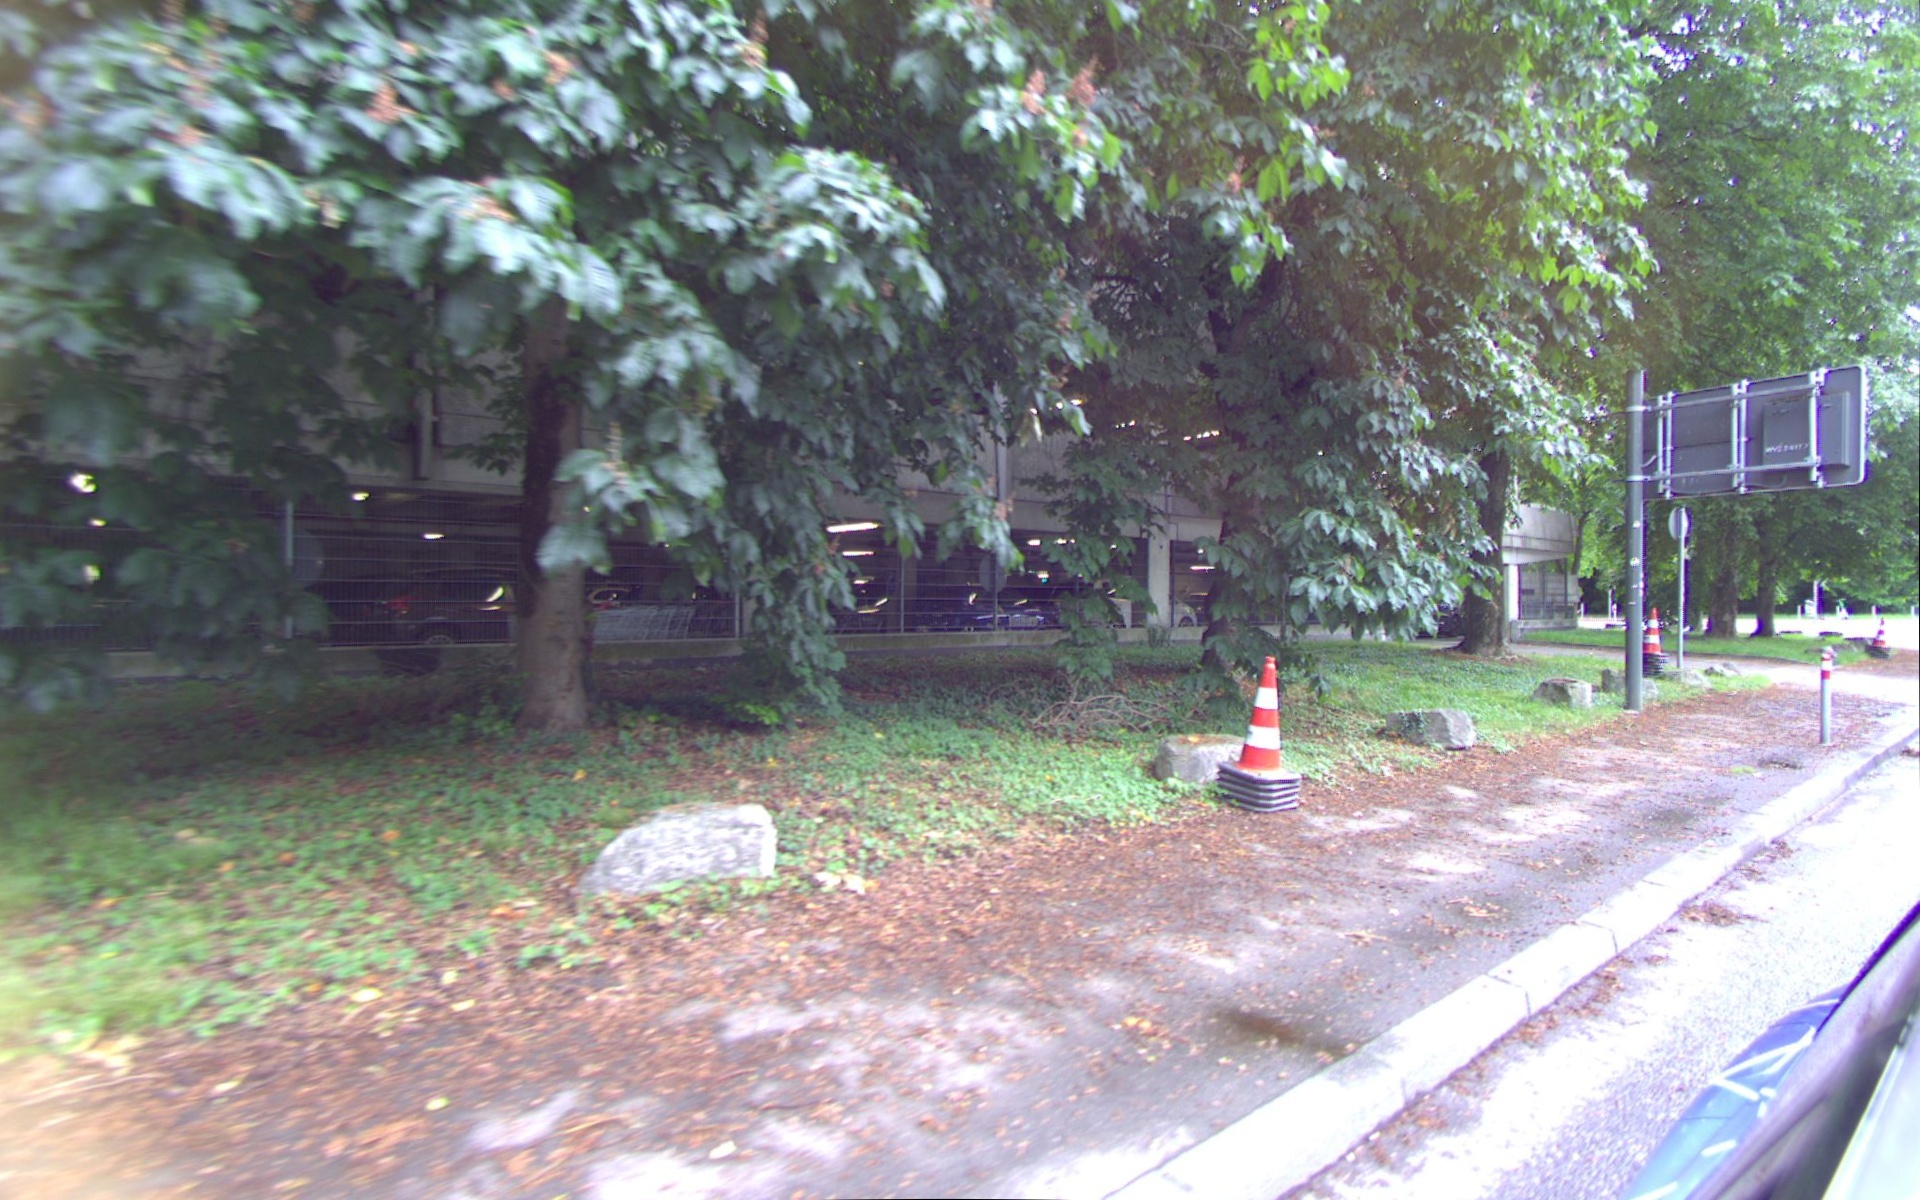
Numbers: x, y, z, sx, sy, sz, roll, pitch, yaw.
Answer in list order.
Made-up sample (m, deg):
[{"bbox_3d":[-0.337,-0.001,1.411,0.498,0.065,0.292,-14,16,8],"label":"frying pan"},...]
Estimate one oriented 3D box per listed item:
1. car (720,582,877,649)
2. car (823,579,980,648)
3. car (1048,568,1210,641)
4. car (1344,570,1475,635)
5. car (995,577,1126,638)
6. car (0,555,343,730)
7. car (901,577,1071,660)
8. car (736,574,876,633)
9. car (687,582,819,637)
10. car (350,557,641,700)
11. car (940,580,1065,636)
[{"bbox_3d":[-4.104,0.361,25.985,3.639,1.565,1.718,-2,0,-42],"label":"car"},{"bbox_3d":[-1.415,0.303,25.243,3.639,1.565,1.718,-2,0,-42],"label":"car"},{"bbox_3d":[4.471,0.070,26.309,4.587,1.730,1.588,-2,0,-41],"label":"car"},{"bbox_3d":[13.908,0.083,31.185,4.653,1.858,1.922,0,-1,-41],"label":"car"},{"bbox_3d":[2.914,0.181,28.970,3.629,1.606,1.718,-2,0,-42],"label":"car"},{"bbox_3d":[-10.979,0.479,13.334,4.594,2.039,1.996,-2,0,-41],"label":"car"},{"bbox_3d":[0.643,0.373,23.169,3.790,1.730,1.588,-2,0,-41],"label":"car"},{"bbox_3d":[-4.383,0.070,29.139,3.639,1.565,1.718,-2,0,-42],"label":"car"},{"bbox_3d":[-6.373,0.254,31.300,3.638,1.565,1.719,-2,0,-41],"label":"car"},{"bbox_3d":[-7.520,0.373,16.522,3.929,2.039,1.997,-2,0,-40],"label":"car"},{"bbox_3d":[1.332,0.206,30.889,3.639,1.565,1.718,-2,0,-42],"label":"car"}]
